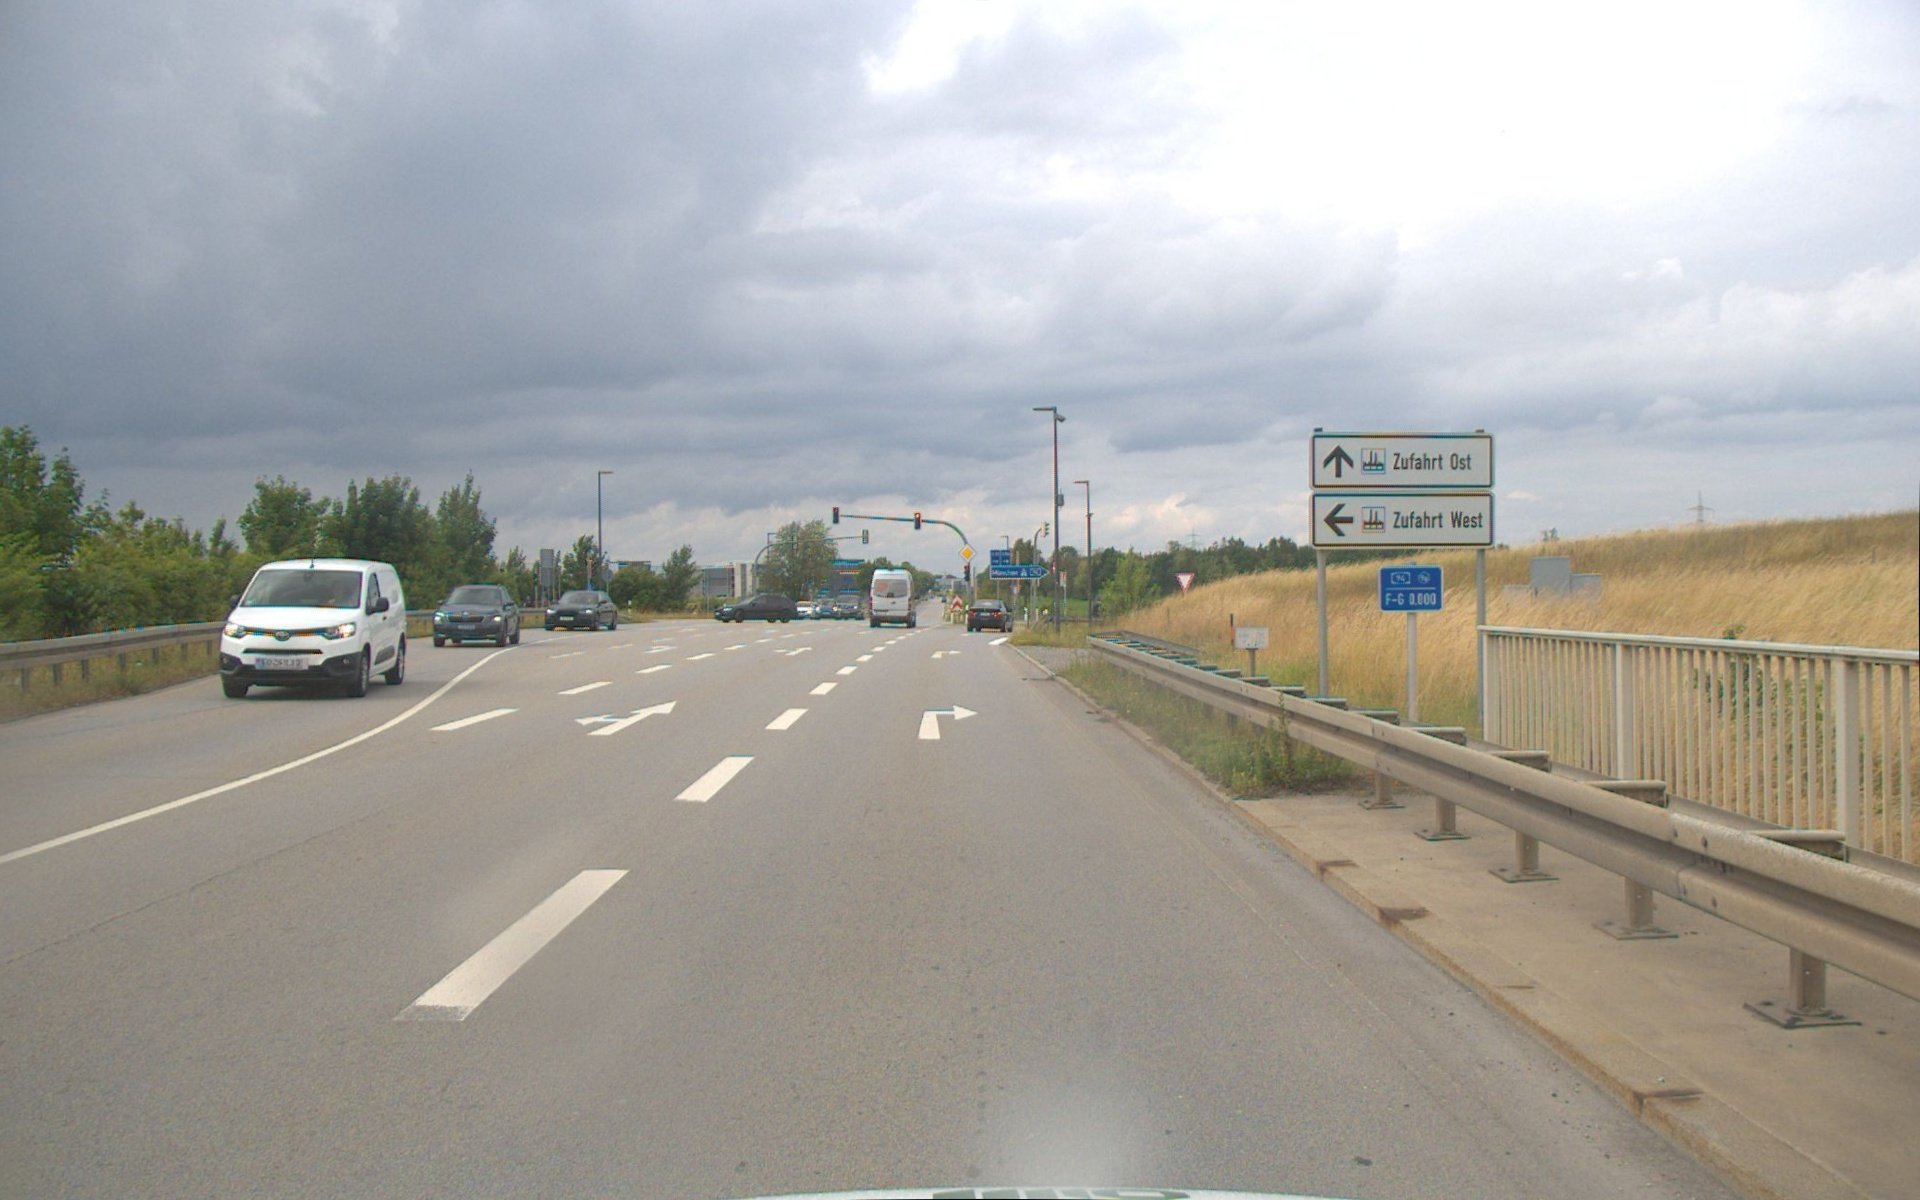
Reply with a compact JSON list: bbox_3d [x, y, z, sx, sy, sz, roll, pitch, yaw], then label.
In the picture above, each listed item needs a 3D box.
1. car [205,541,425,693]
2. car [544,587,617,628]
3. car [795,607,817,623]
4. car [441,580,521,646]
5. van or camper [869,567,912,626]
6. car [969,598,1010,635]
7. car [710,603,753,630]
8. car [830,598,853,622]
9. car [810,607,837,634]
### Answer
[{"bbox_3d":[-8.916,0.223,23.297,1.918,1.907,4.809,1,0,-10],"label":"car"},{"bbox_3d":[-13.829,0.273,60.530,1.772,1.392,4.783,1,0,-3],"label":"car"},{"bbox_3d":[-12.578,1.222,135.560,1.450,1.305,3.533,0,0,0],"label":"car"},{"bbox_3d":[-12.225,0.316,42.376,1.554,1.585,4.135,1,0,-11],"label":"car"},{"bbox_3d":[-3.203,-0.151,76.831,1.838,2.626,3.999,1,0,-1],"label":"van or camper"},{"bbox_3d":[1.269,0.685,70.104,1.486,1.511,3.618,0,0,5],"label":"car"},{"bbox_3d":[-12.353,0.900,89.564,1.806,1.450,3.908,0,-1,0],"label":"car"},{"bbox_3d":[-9.555,0.772,133.445,1.604,1.884,3.748,0,0,0],"label":"car"},{"bbox_3d":[-9.762,1.430,118.165,1.604,1.884,3.748,0,0,0],"label":"car"}]
